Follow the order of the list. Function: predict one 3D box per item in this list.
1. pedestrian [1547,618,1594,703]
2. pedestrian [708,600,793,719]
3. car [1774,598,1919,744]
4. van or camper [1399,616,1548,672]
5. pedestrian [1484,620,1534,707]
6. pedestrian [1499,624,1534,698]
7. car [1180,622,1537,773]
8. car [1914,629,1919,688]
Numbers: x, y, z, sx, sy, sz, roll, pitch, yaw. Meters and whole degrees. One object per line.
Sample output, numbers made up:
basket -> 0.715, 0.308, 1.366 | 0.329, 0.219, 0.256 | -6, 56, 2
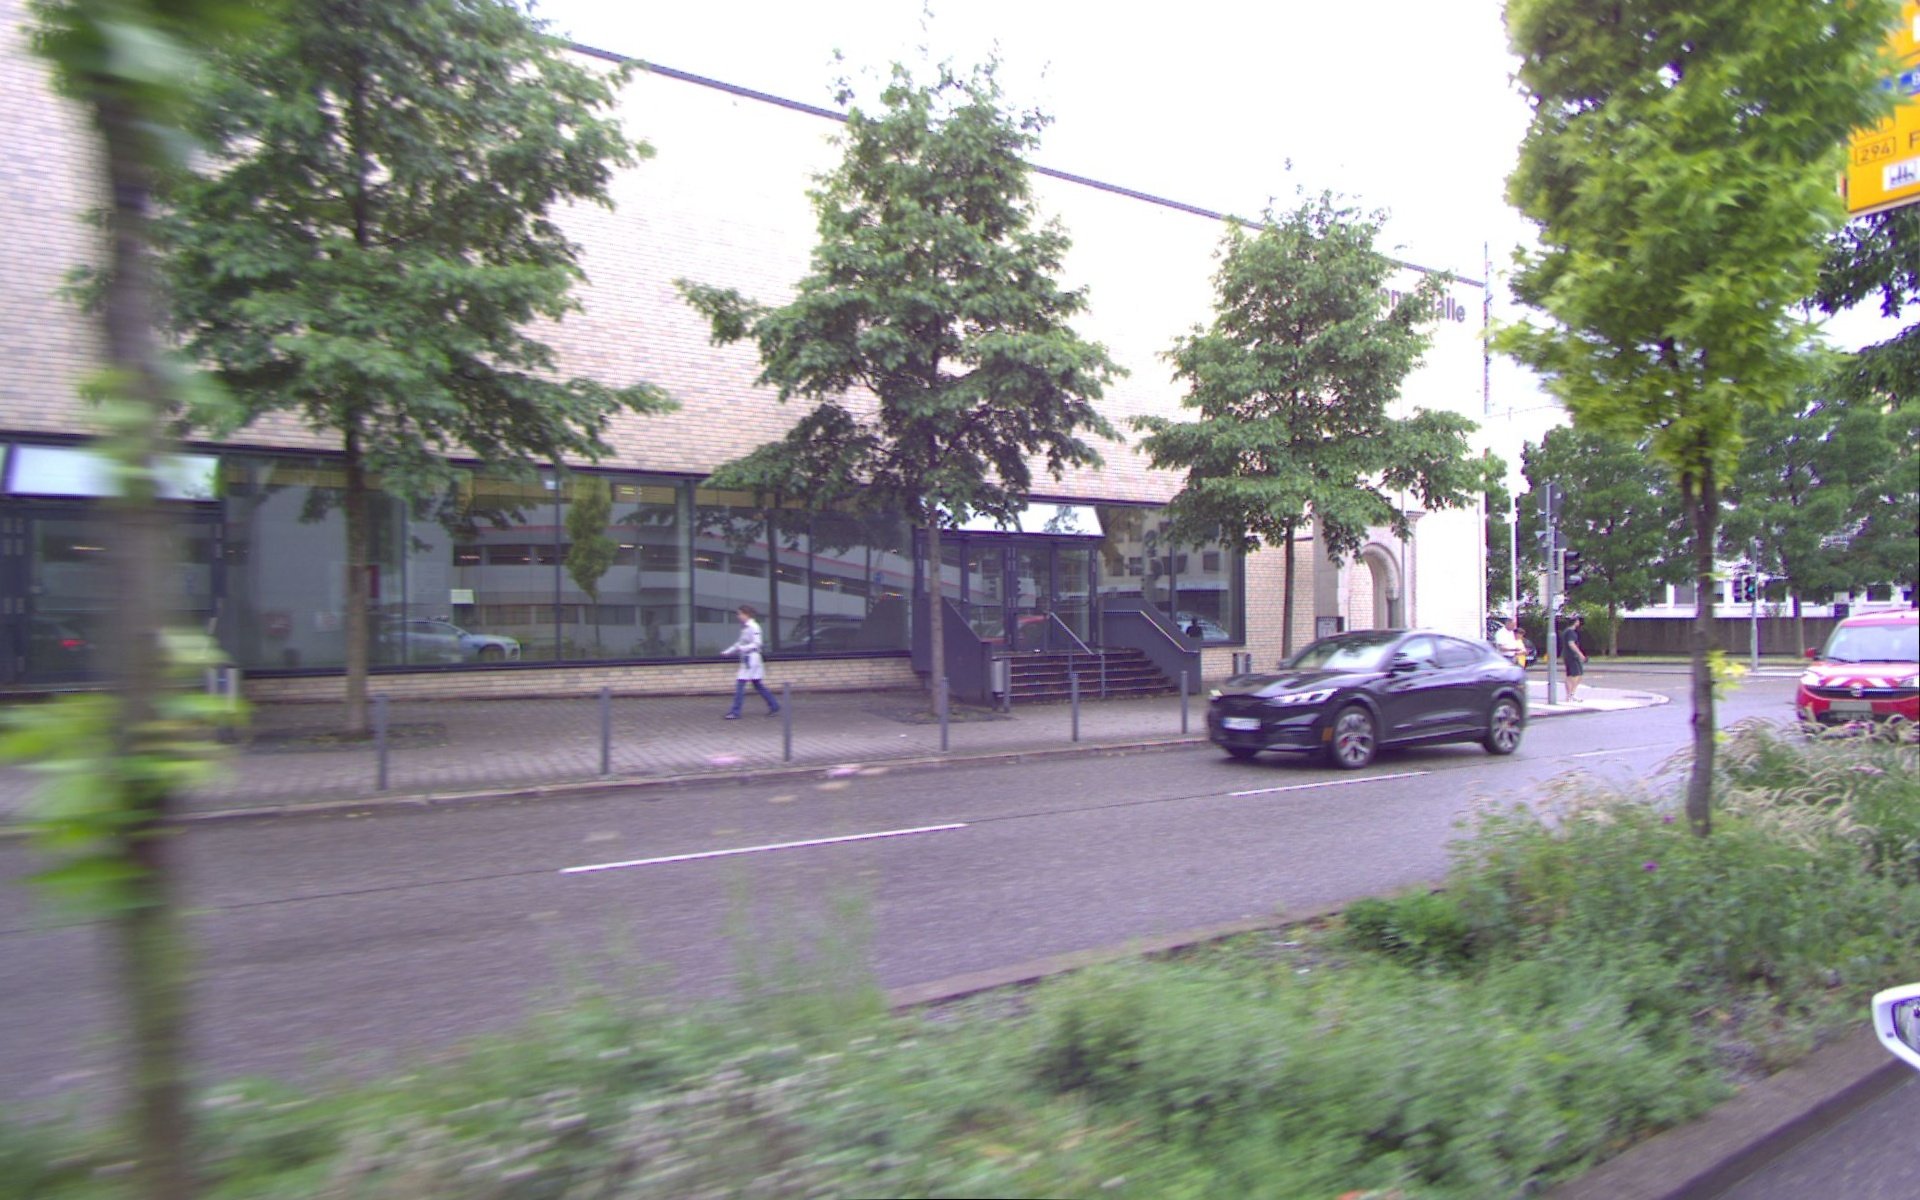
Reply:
pedestrian -> 13.047, 1.269, 21.461 | 0.712, 1.781, 0.681 | 1, -1, -40
pedestrian -> -3.104, 0.874, 14.920 | 1.009, 1.688, 0.638 | 2, 0, -35
car -> 14.058, 1.002, 14.770 | 4.739, 1.878, 1.783 | 2, -3, -32
van or camper -> 19.255, 1.597, 37.879 | 1.998, 1.957, 4.717 | 1, -1, -29
pedestrian -> 10.940, 1.247, 20.008 | 0.683, 1.678, 0.608 | 1, -1, -32
pedestrian -> 11.842, 1.288, 21.367 | 0.540, 1.554, 0.436 | 1, -1, -32
car -> 5.102, 1.135, 12.702 | 4.485, 1.607, 1.879 | 2, -3, -31
car -> 26.076, 1.417, 25.266 | 4.383, 1.448, 1.838 | 0, -2, -31
